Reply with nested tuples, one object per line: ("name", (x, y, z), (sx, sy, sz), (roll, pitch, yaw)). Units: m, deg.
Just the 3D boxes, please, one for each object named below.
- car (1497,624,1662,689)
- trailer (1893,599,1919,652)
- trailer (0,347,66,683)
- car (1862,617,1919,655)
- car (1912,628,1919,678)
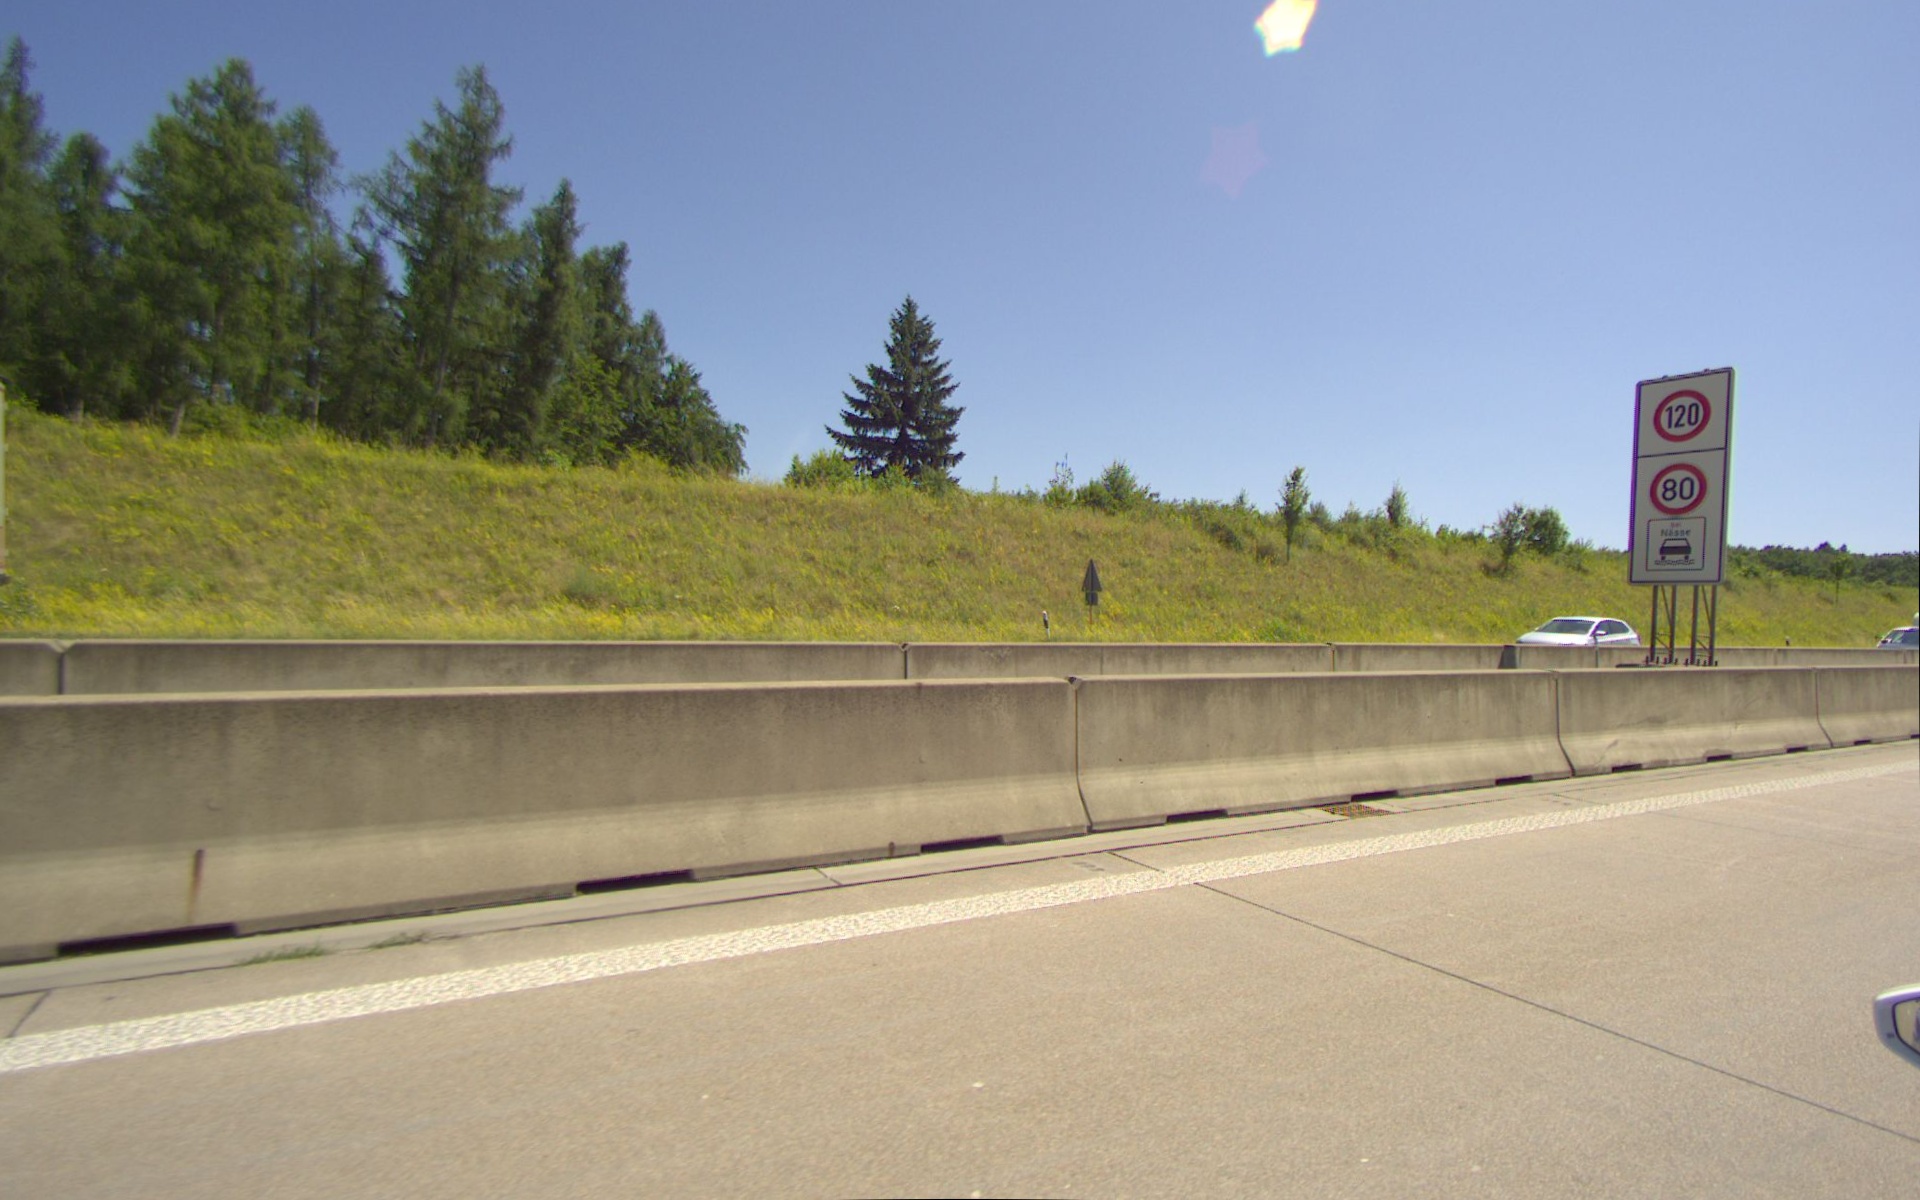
("car", (17.010, 1.514, 27.545), (4.446, 1.579, 1.984), (2, 0, -30))
("trailer", (51.965, 1.391, 52.466), (7.690, 2.666, 2.593), (2, 0, -30))
("trailer", (-19.364, -1.385, 10.984), (13.763, 4.490, 3.370), (2, 0, -31))
("car", (46.374, 1.758, 49.035), (5.311, 1.682, 1.984), (2, 0, -30))
("car", (31.989, 1.717, 31.558), (3.953, 1.539, 1.984), (2, 0, -30))
